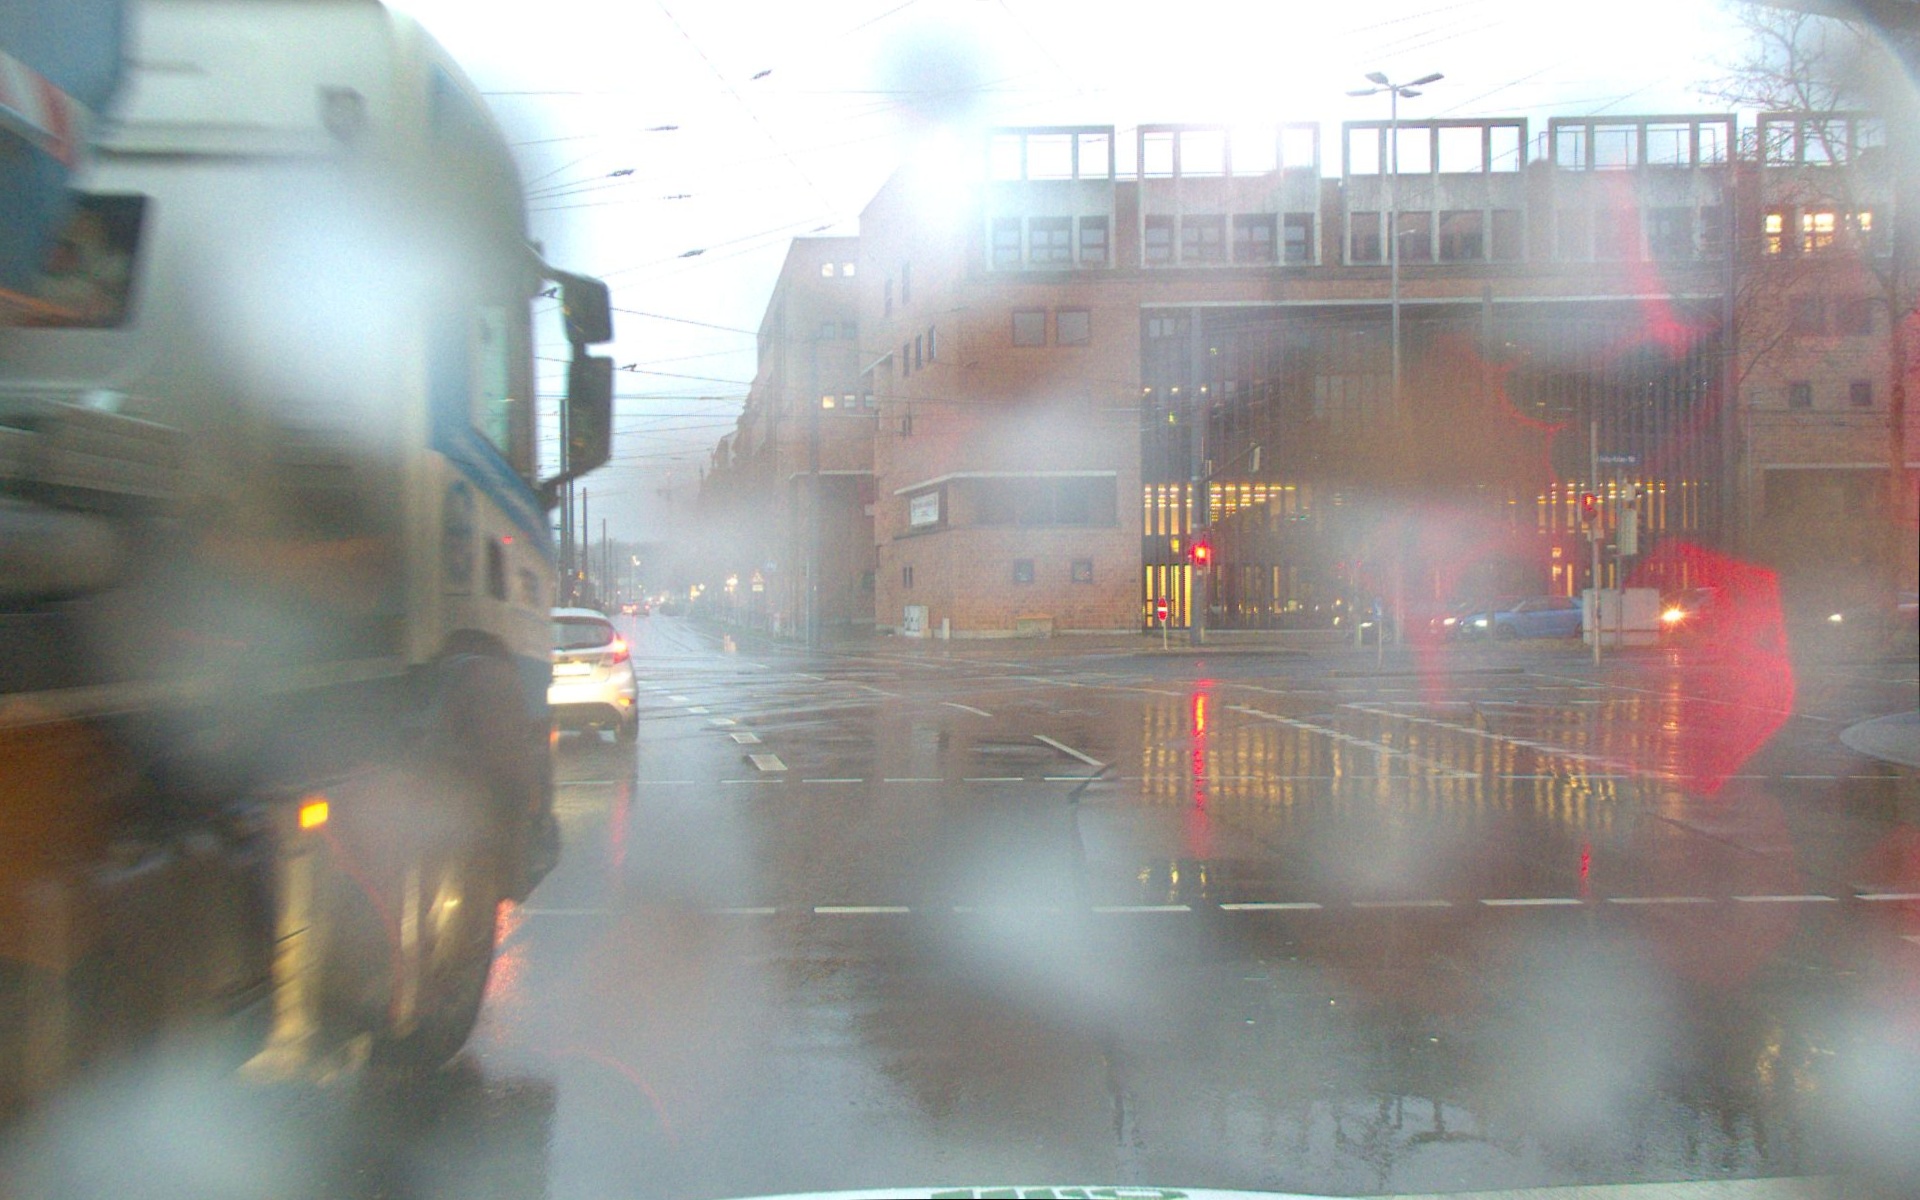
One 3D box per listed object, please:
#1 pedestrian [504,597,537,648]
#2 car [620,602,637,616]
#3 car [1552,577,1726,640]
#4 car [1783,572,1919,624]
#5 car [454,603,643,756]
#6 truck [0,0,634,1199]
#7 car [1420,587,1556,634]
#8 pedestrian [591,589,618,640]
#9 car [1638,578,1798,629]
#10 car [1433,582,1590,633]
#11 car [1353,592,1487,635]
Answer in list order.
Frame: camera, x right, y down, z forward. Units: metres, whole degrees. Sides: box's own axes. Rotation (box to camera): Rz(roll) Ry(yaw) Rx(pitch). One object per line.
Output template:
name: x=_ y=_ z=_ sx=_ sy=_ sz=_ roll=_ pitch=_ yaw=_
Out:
pedestrian: x=-17.549 y=0.890 z=66.025 sx=0.959 sy=2.049 sz=0.835 roll=0 pitch=0 yaw=14
car: x=-39.002 y=1.065 z=194.626 sx=1.837 sy=1.606 sz=3.990 roll=2 pitch=0 yaw=-10
car: x=18.228 y=0.206 z=44.499 sx=3.910 sy=1.530 sz=1.846 roll=-1 pitch=4 yaw=-7
car: x=29.333 y=-0.080 z=54.120 sx=3.910 sy=1.530 sz=1.846 roll=-1 pitch=4 yaw=-7
car: x=-4.653 y=0.782 z=18.347 sx=1.680 sy=1.473 sz=3.978 roll=-1 pitch=0 yaw=-19
truck: x=-2.623 y=-0.254 z=2.927 sx=2.782 sy=3.697 sz=7.524 roll=-1 pitch=0 yaw=-2
car: x=16.603 y=0.317 z=52.140 sx=3.649 sy=1.284 sz=1.846 roll=-1 pitch=4 yaw=-7
pedestrian: x=-14.479 y=0.582 z=67.342 sx=1.050 sy=2.049 sz=0.683 roll=0 pitch=0 yaw=-14
car: x=22.347 y=0.092 z=48.848 sx=3.910 sy=1.310 sz=1.846 roll=-1 pitch=4 yaw=-7
car: x=15.976 y=0.209 z=48.044 sx=3.910 sy=1.284 sz=1.846 roll=-1 pitch=4 yaw=-7
car: x=15.538 y=0.450 z=55.951 sx=3.909 sy=1.333 sz=1.998 roll=-1 pitch=0 yaw=-5
